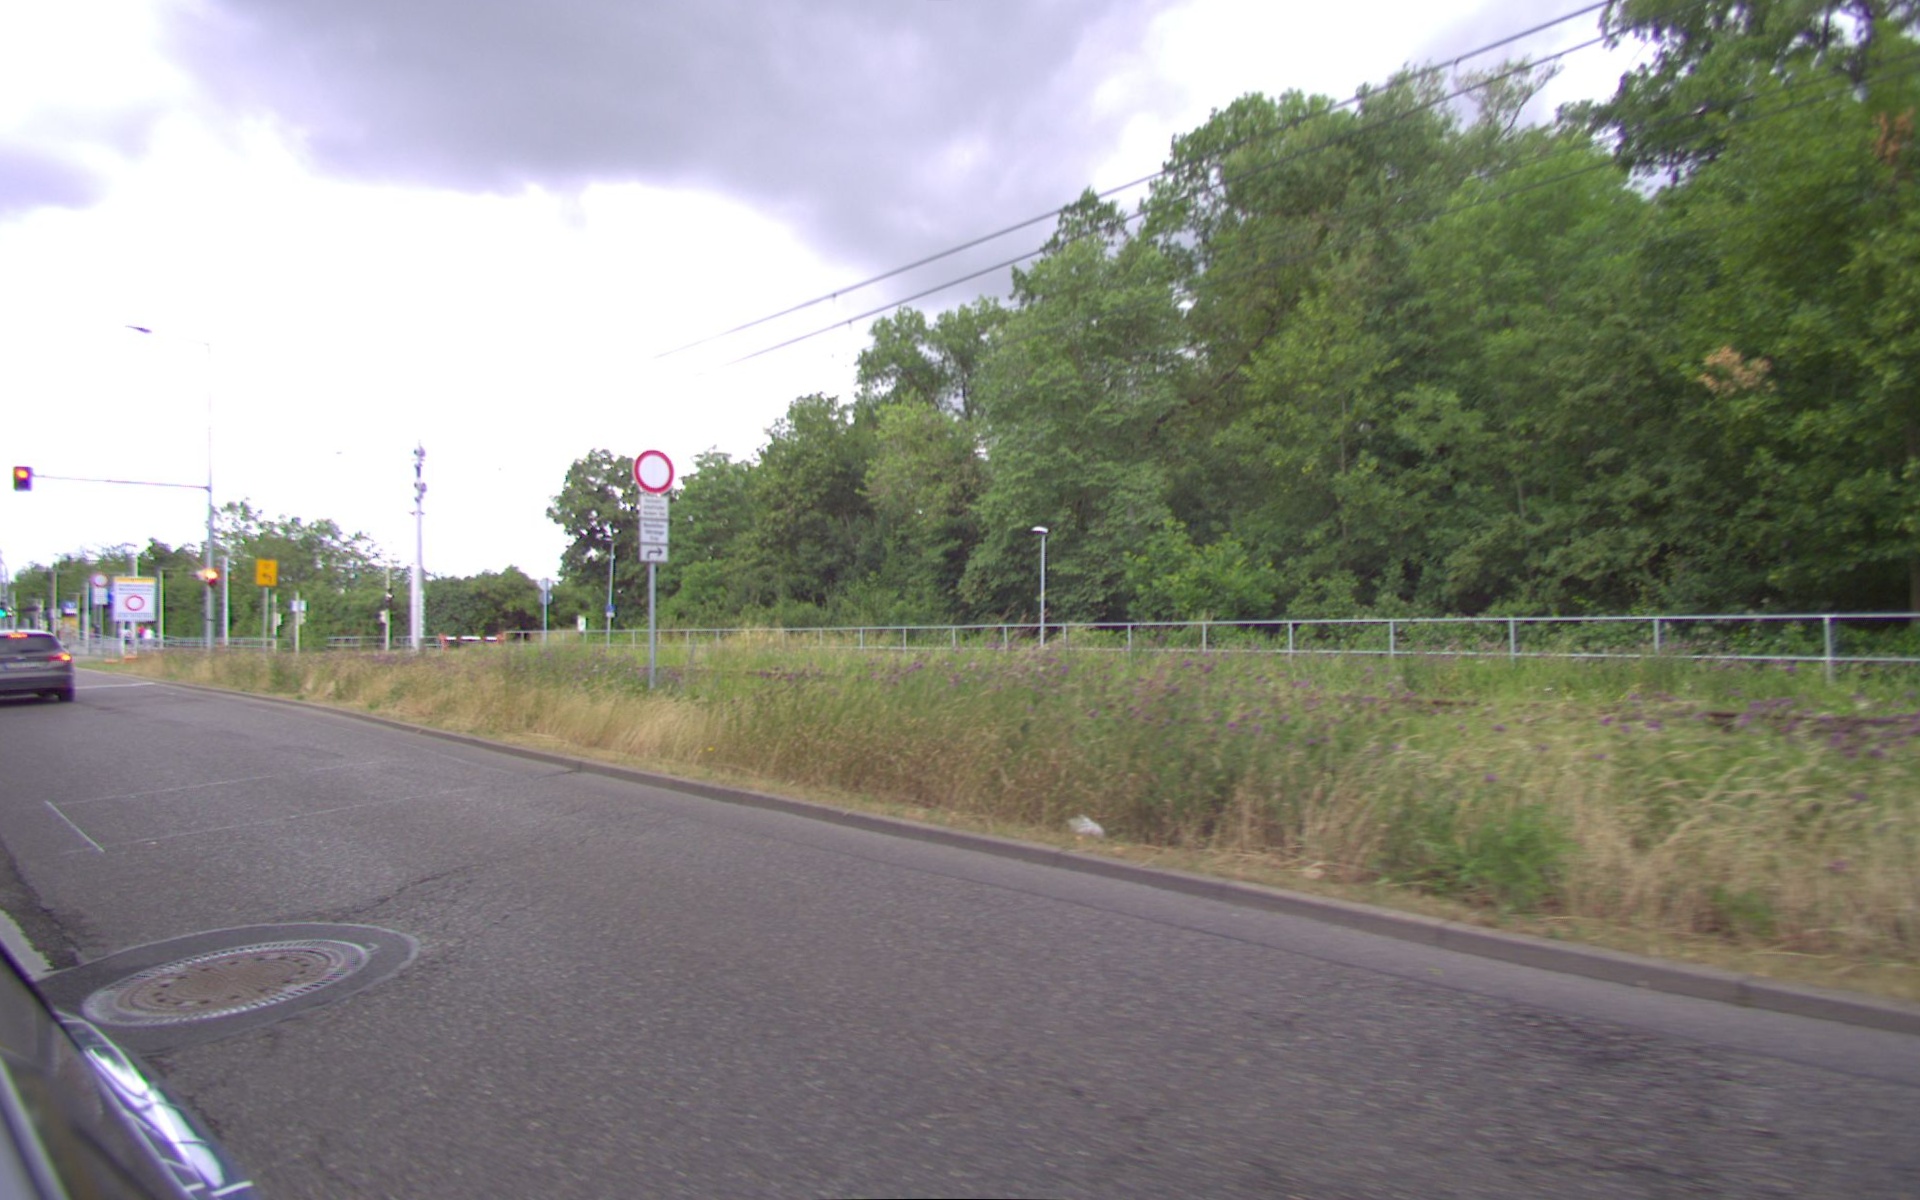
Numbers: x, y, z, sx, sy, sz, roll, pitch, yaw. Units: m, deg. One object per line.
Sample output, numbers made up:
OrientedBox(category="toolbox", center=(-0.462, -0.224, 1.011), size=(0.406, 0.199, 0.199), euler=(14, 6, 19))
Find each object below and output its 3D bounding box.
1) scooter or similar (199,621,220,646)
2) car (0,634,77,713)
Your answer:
OrientedBox(category="scooter or similar", center=(-38.861, 1.744, 52.397), size=(1.264, 1.281, 0.407), euler=(-2, -1, 30))
OrientedBox(category="car", center=(-19.702, 1.475, 20.746), size=(4.425, 1.445, 1.738), euler=(-2, 0, 40))
